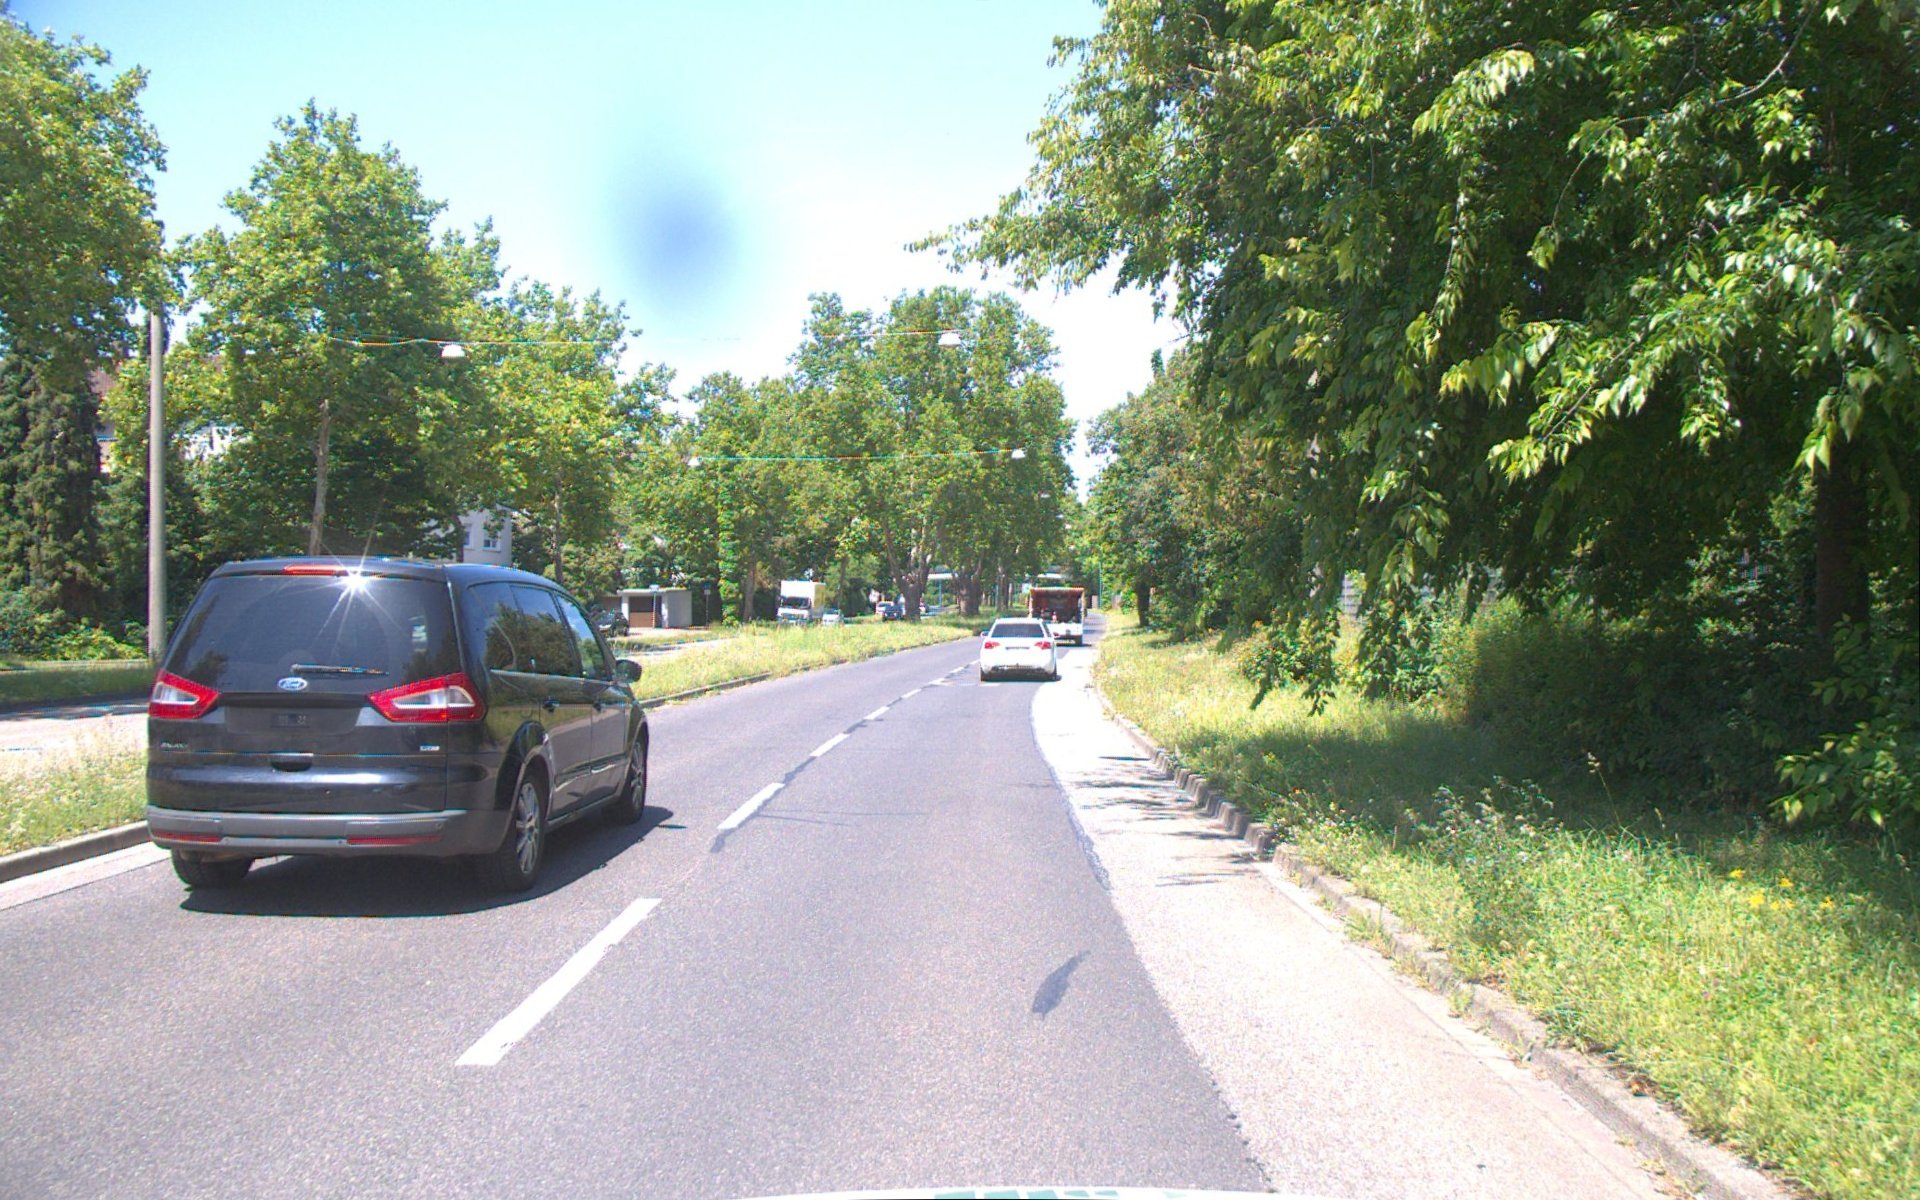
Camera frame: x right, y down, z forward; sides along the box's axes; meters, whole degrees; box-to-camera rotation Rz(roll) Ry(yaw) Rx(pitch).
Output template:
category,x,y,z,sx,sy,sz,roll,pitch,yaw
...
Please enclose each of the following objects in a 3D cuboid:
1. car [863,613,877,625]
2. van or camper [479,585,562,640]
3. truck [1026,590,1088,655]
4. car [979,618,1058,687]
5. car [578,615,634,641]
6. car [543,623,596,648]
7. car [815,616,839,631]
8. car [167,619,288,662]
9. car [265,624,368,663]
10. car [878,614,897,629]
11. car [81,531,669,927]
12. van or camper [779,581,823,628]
category,x,y,z,sx,sy,sz,roll,pitch,yaw
car,-9.855,2.070,181.287,1.431,1.231,3.424,0,0,-3
van or camper,-21.983,0.608,82.929,2.136,2.633,5.313,-1,0,7
truck,4.144,0.888,70.961,2.458,2.604,7.606,1,0,3
car,1.402,1.178,38.465,1.725,1.471,3.617,1,-1,3
car,-20.323,1.598,94.982,1.789,1.415,3.950,-1,0,10
car,-21.045,1.897,89.205,1.657,1.306,3.805,0,0,6
car,-11.151,1.964,138.497,1.876,1.231,4.332,0,0,-3
car,-25.580,1.404,57.894,1.841,1.417,4.003,0,0,13
car,-24.674,1.632,63.563,1.841,1.400,4.003,0,0,10
car,-6.951,2.029,158.248,1.736,1.355,3.657,0,0,-3
car,-3.058,0.595,9.823,1.816,1.786,4.648,0,0,0
van or camper,-11.842,0.358,123.472,2.606,3.389,5.501,0,0,1
